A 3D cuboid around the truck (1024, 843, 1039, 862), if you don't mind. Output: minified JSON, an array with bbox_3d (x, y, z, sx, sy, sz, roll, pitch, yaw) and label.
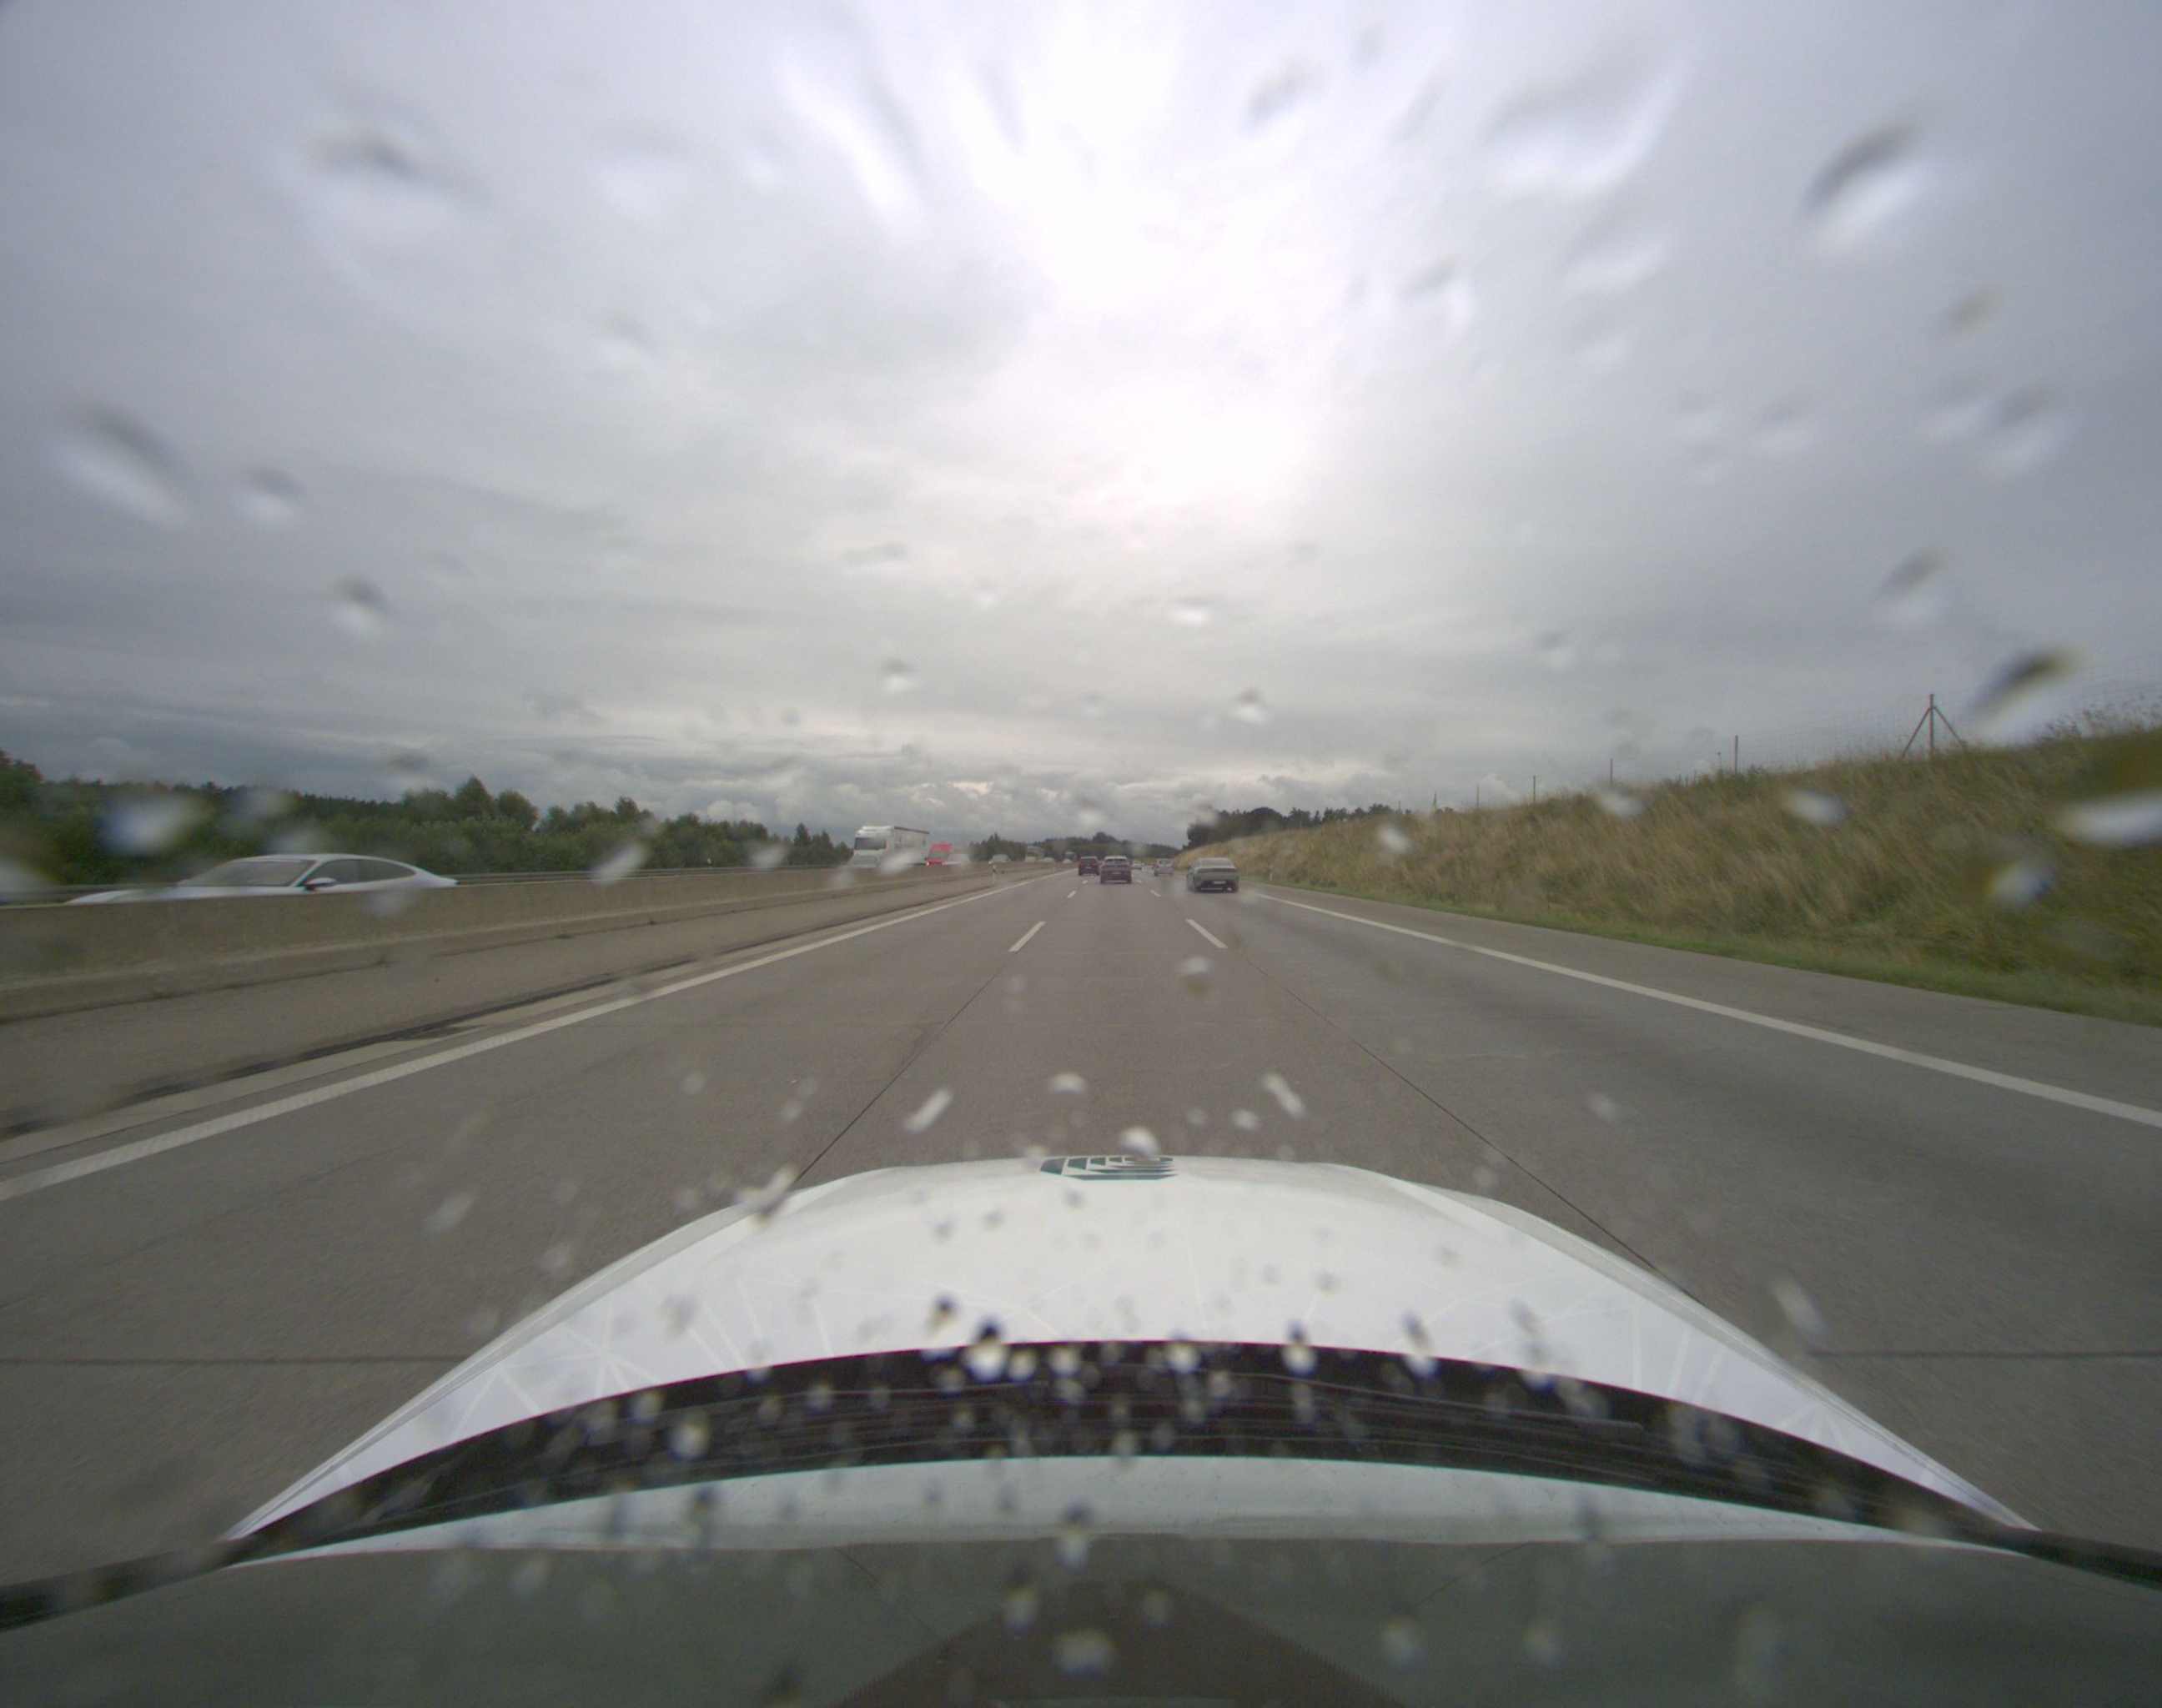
[{"bbox_3d":[-10.987,-0.418,181.572,2.921,4.180,5.860,-1,0,1],"label":"truck"}]

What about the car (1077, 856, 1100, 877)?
[{"bbox_3d":[0.701,1.099,73.666,1.777,1.747,3.920,-1,0,4],"label":"car"}]

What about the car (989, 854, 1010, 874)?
[{"bbox_3d":[-8.859,1.042,88.499,1.682,2.013,4.838,-1,0,1],"label":"car"}]

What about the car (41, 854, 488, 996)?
[{"bbox_3d":[-11.538,0.861,12.123,1.986,1.662,4.528,-1,0,2],"label":"car"}]

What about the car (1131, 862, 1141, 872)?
[{"bbox_3d":[8.964,2.186,133.769,1.480,1.470,3.506,2,1,2],"label":"car"}]

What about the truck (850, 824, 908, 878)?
[{"bbox_3d":[-16.891,-0.296,68.690,2.873,4.290,7.139,-1,0,2],"label":"truck"}]

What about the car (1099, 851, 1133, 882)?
[{"bbox_3d":[2.068,0.710,48.948,1.891,1.690,5.267,-1,0,1],"label":"car"}]

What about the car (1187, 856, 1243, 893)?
[{"bbox_3d":[5.724,0.827,35.351,2.005,1.445,4.751,-1,0,4],"label":"car"}]

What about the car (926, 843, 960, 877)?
[{"bbox_3d":[-12.426,0.524,73.761,1.794,2.958,5.583,-1,0,3],"label":"car"}]

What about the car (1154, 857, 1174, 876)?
[{"bbox_3d":[6.967,1.061,68.649,1.480,1.470,3.506,2,1,2],"label":"car"}]

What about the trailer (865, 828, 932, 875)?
[{"bbox_3d":[-16.679,-0.271,75.688,2.877,4.002,13.019,-1,0,2],"label":"trailer"}]
